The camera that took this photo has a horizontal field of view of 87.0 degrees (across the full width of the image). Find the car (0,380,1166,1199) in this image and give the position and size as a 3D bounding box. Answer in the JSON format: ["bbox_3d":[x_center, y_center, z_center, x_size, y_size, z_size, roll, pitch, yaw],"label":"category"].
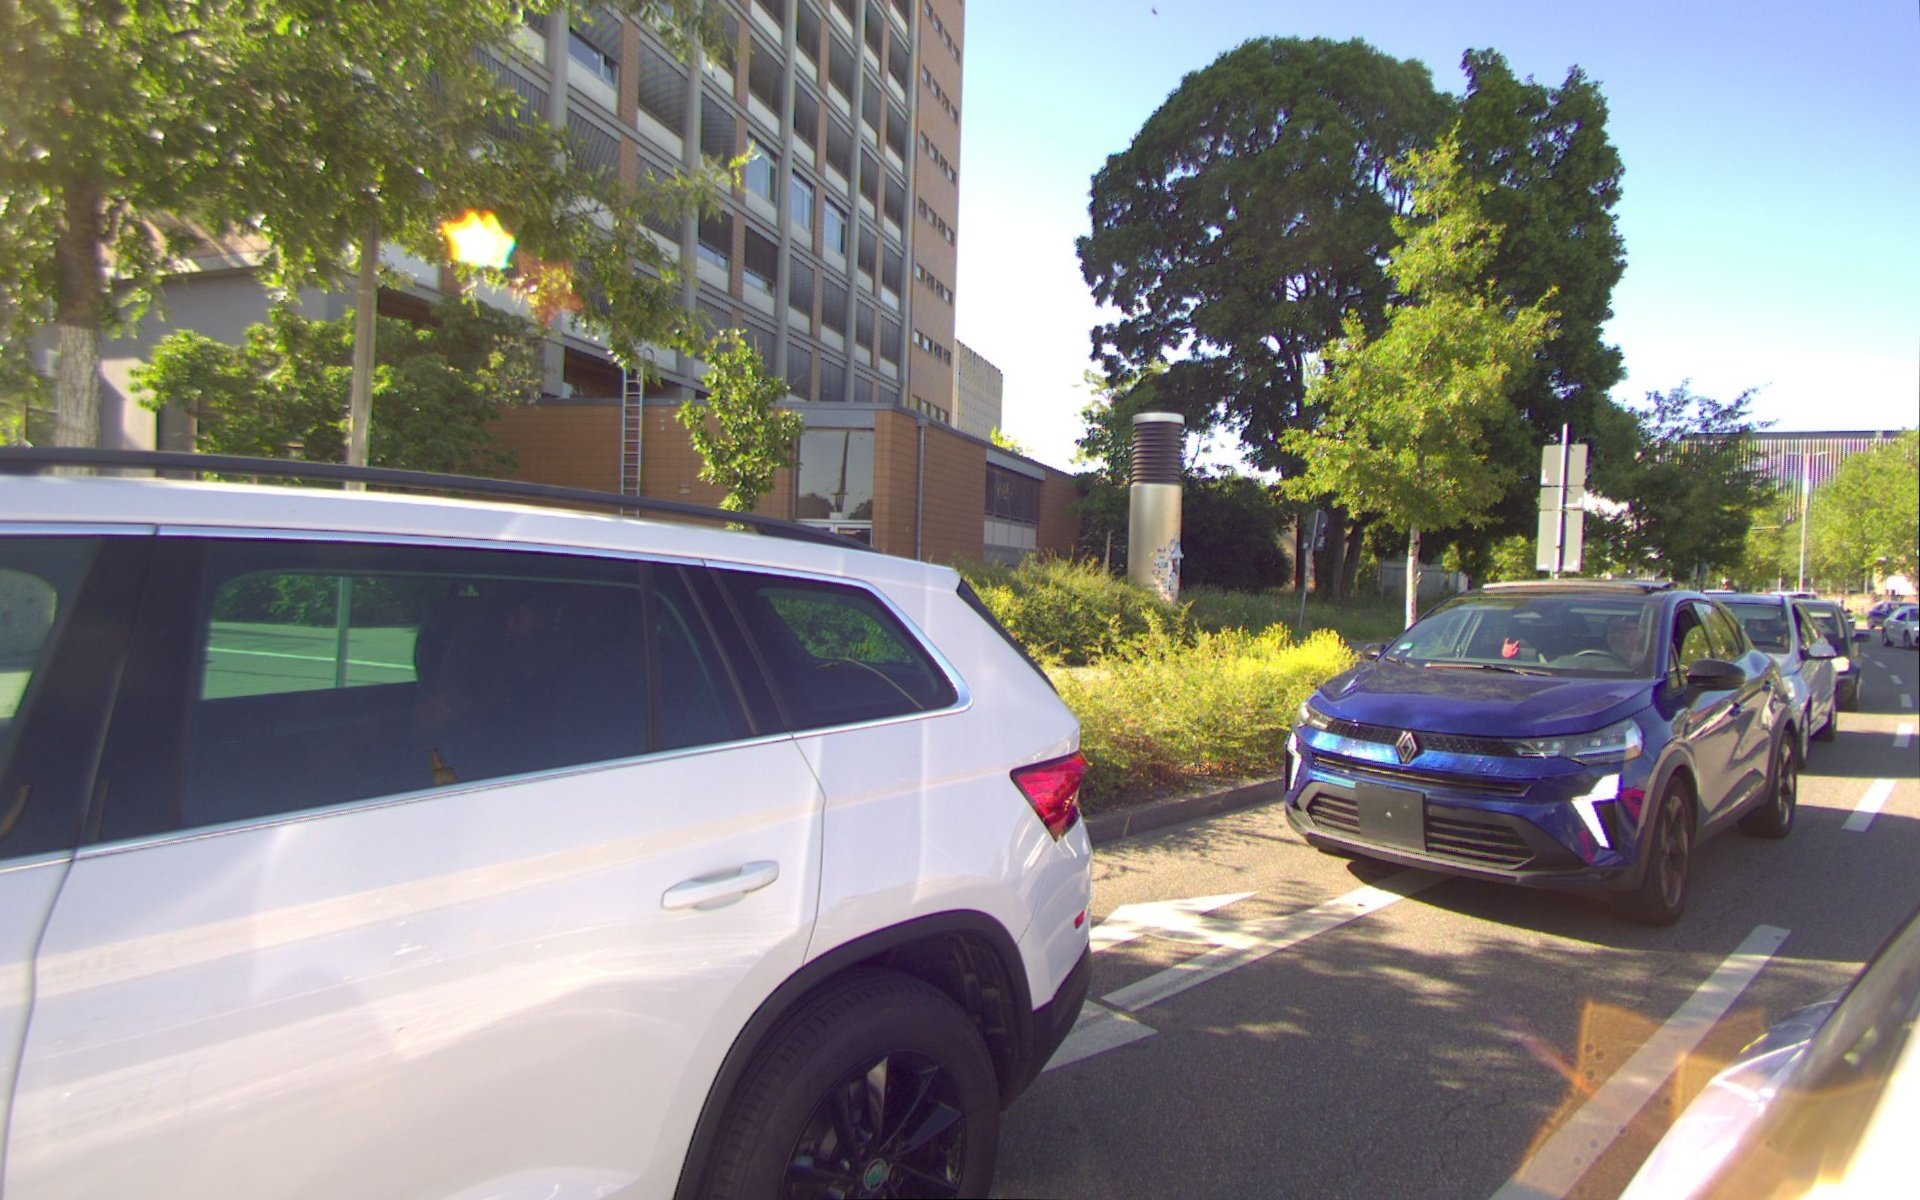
[{"bbox_3d":[-1.645,0.571,1.651,4.223,1.662,1.697,0,2,-42],"label":"car"}]

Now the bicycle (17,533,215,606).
[{"bbox_3d":[-17.351,-0.610,20.945,0.790,1.394,3.111,2,1,26],"label":"bicycle"}]

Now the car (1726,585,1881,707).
[{"bbox_3d":[13.111,0.618,15.673,1.646,1.631,3.435,3,2,43],"label":"car"}]

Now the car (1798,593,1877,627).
[{"bbox_3d":[41.016,0.444,47.407,1.864,1.500,3.963,1,1,27],"label":"car"}]

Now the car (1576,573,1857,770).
[{"bbox_3d":[8.080,0.594,10.666,3.977,1.645,1.782,0,2,-45],"label":"car"}]

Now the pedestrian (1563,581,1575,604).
[{"bbox_3d":[52.034,-0.618,86.420,0.814,1.941,0.765,0,0,27],"label":"pedestrian"}]

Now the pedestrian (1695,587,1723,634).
[{"bbox_3d":[26.183,0.355,35.388,0.656,1.624,0.685,2,1,30],"label":"pedestrian"}]

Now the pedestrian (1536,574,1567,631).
[{"bbox_3d":[17.321,0.060,29.644,0.688,1.624,0.653,2,1,35],"label":"pedestrian"}]

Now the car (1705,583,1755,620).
[{"bbox_3d":[42.609,0.057,56.059,1.815,1.876,3.708,2,1,33],"label":"car"}]

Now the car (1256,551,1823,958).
[{"bbox_3d":[3.630,0.605,6.012,4.012,1.626,1.704,0,1,-41],"label":"car"}]

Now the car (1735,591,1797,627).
[{"bbox_3d":[35.323,0.364,44.419,1.740,1.494,3.533,0,1,33],"label":"car"}]

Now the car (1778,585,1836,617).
[{"bbox_3d":[57.155,0.017,68.373,1.767,2.039,4.201,1,1,22],"label":"car"}]

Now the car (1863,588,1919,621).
[{"bbox_3d":[49.409,0.204,53.515,1.579,1.625,3.047,2,1,24],"label":"car"}]

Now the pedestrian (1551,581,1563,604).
[{"bbox_3d":[51.306,-0.624,86.961,0.814,1.941,0.765,0,0,27],"label":"pedestrian"}]

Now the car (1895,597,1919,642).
[{"bbox_3d":[31.730,0.627,32.558,1.739,1.396,3.534,1,1,32],"label":"car"}]
